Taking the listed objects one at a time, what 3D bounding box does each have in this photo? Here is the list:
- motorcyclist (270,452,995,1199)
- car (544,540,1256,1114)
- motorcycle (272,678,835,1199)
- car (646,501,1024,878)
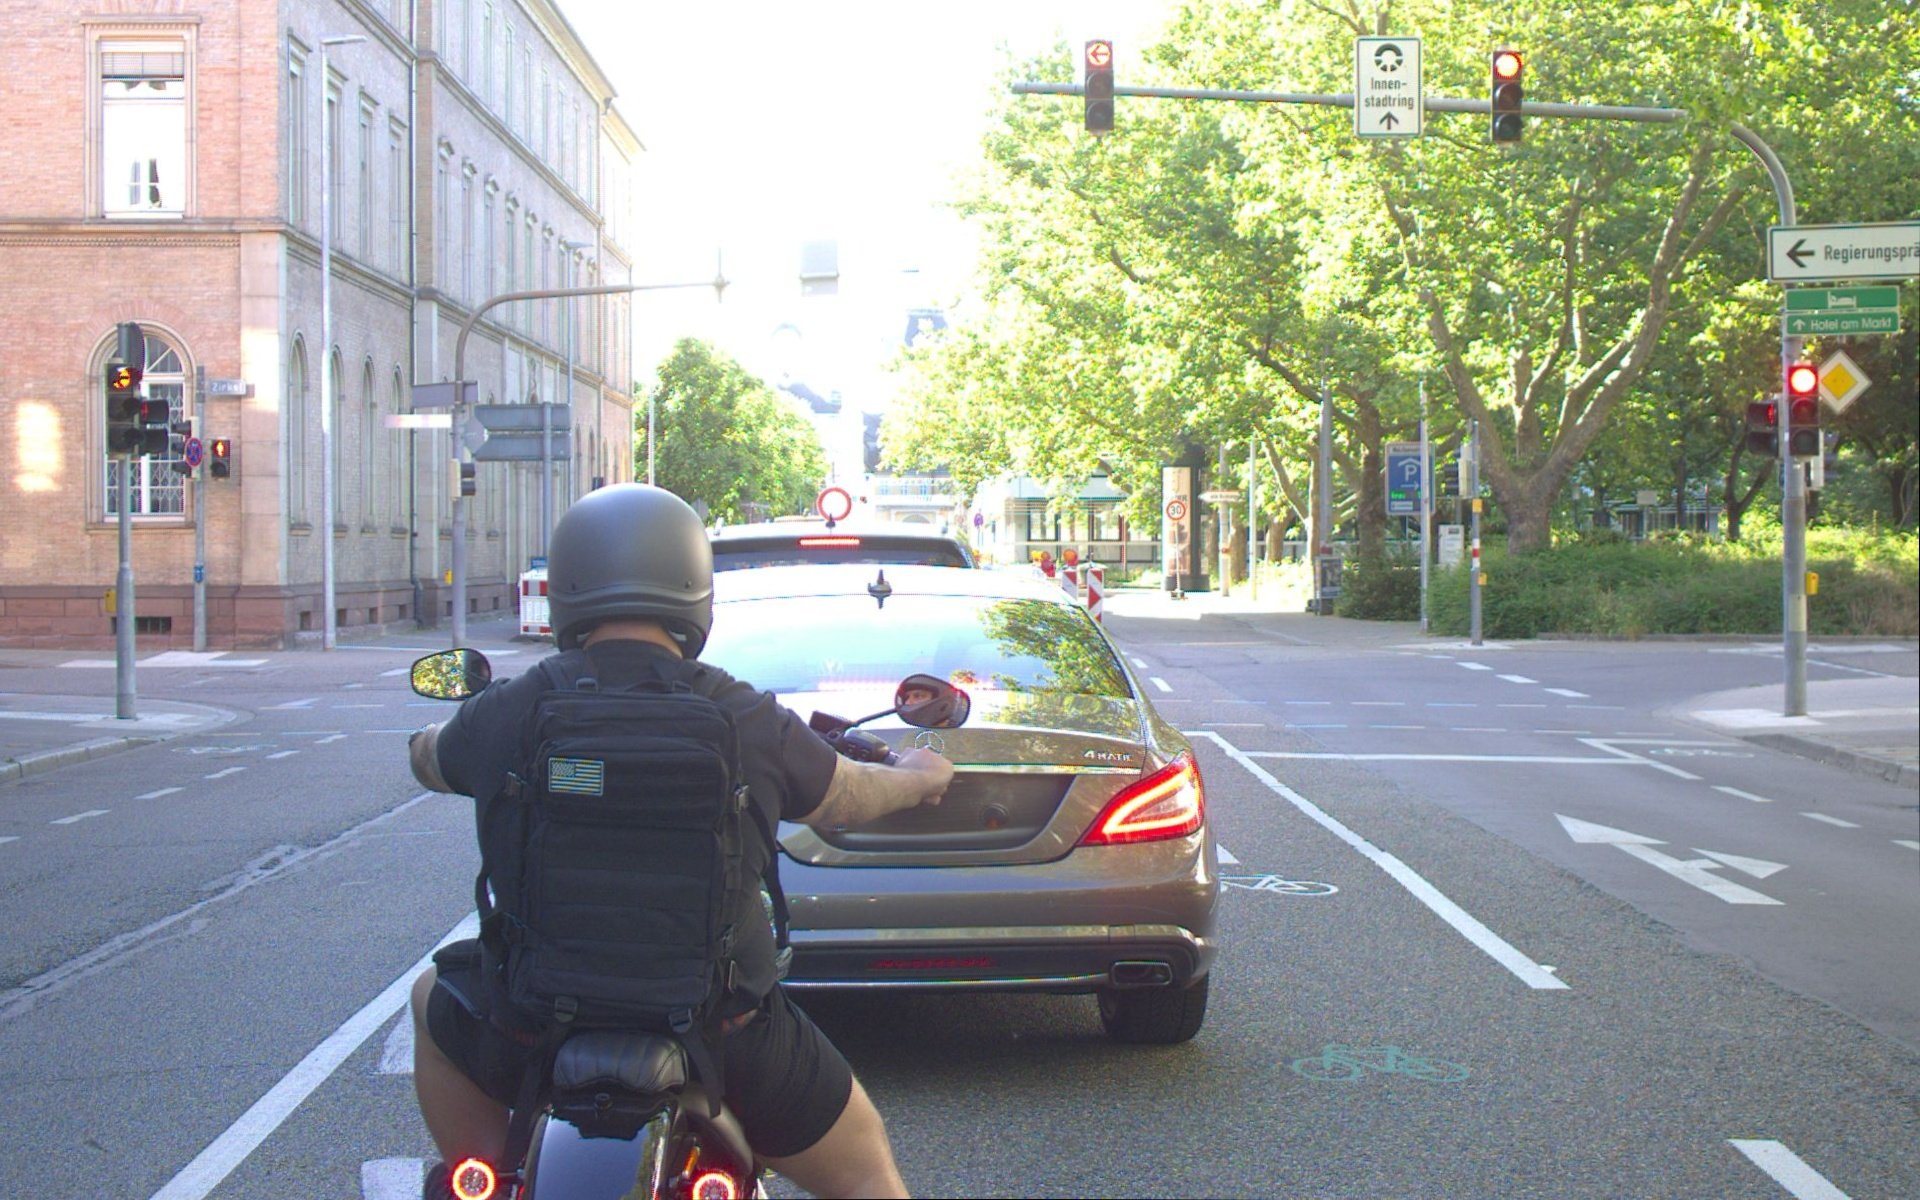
[{"bbox_3d":[-0.464,0.599,5.325,0.990,1.605,1.120,1,0,-1],"label":"motorcyclist"},{"bbox_3d":[-0.405,0.570,11.125,1.824,1.481,4.334,1,1,-7],"label":"car"},{"bbox_3d":[-0.561,0.779,5.420,0.660,1.236,2.058,1,1,-1],"label":"motorcycle"},{"bbox_3d":[-0.572,0.376,17.213,1.651,1.646,4.000,1,1,-1],"label":"car"}]
